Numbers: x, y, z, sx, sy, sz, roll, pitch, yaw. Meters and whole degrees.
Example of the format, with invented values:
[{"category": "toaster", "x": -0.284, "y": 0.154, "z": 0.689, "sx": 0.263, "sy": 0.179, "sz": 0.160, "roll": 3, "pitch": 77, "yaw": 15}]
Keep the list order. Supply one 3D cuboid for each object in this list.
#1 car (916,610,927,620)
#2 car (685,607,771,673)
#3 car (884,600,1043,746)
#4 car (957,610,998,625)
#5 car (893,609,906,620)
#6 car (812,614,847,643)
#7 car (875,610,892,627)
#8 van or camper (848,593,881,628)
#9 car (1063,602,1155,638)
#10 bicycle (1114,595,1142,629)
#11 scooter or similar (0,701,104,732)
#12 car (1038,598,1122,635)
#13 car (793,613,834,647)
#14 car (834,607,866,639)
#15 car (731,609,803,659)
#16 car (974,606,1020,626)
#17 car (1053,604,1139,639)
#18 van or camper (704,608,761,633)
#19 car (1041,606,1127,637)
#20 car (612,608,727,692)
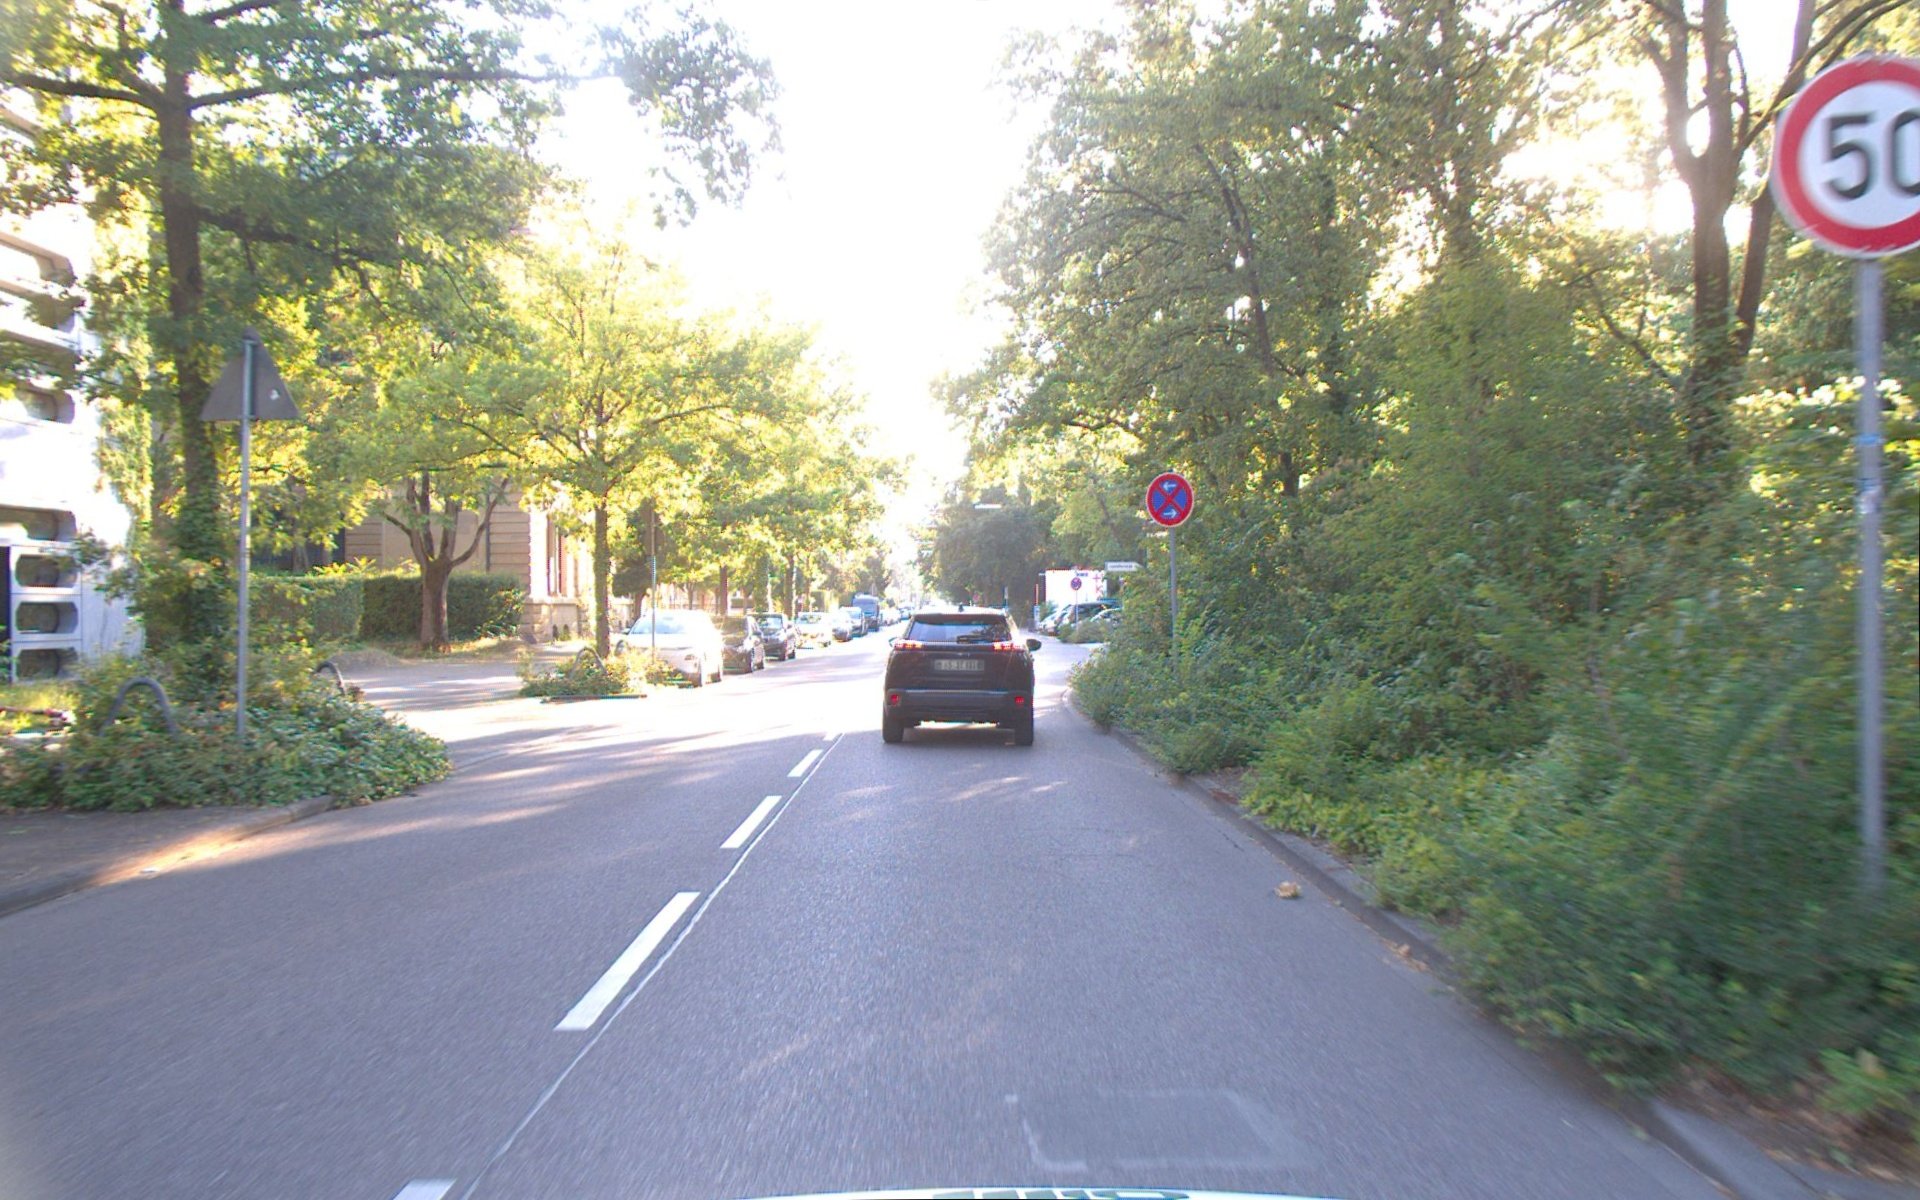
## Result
[{"category": "car", "x": -6.055, "y": 2.327, "z": 257.464, "sx": 1.706, "sy": 1.484, "sz": 4.622, "roll": -1, "pitch": -1, "yaw": -2}, {"category": "car", "x": -6.036, "y": 1.033, "z": 43.447, "sx": 1.744, "sy": 1.644, "sz": 4.146, "roll": 0, "pitch": -1, "yaw": -1}, {"category": "car", "x": 0.013, "y": 0.802, "z": 20.243, "sx": 1.735, "sy": 1.596, "sz": 4.108, "roll": 1, "pitch": 0, "yaw": -1}, {"category": "car", "x": 1.869, "y": 1.887, "z": 175.685, "sx": 4.158, "sy": 1.474, "sz": 2.020, "roll": -2, "pitch": -1, "yaw": -3}, {"category": "car", "x": -9.039, "y": 2.202, "z": 248.321, "sx": 1.861, "sy": 1.601, "sz": 3.999, "roll": 0, "pitch": -1, "yaw": -1}, {"category": "car", "x": -6.898, "y": 1.479, "z": 87.455, "sx": 1.585, "sy": 1.522, "sz": 4.376, "roll": 0, "pitch": 0, "yaw": -1}, {"category": "car", "x": -7.427, "y": 1.760, "z": 160.040, "sx": 1.581, "sy": 1.541, "sz": 3.710, "roll": -2, "pitch": -1, "yaw": -3}, {"category": "van or camper", "x": -7.155, "y": 0.815, "z": 124.865, "sx": 2.184, "sy": 2.589, "sz": 7.077, "roll": 1, "pitch": -1, "yaw": -1}, {"category": "car", "x": 7.302, "y": 0.982, "z": 81.402, "sx": 4.275, "sy": 1.581, "sz": 1.727, "roll": -3, "pitch": -1, "yaw": -2}, {"category": "bicycle", "x": 6.416, "y": 0.448, "z": 63.020, "sx": 0.482, "sy": 1.168, "sz": 2.286, "roll": -4, "pitch": 0, "yaw": 19}, {"category": "scooter or similar", "x": -11.350, "y": 1.436, "z": 20.443, "sx": 1.142, "sy": 0.281, "sz": 1.245, "roll": 0, "pitch": 0, "yaw": -16}, {"category": "car", "x": 7.180, "y": 0.995, "z": 99.278, "sx": 4.755, "sy": 1.949, "sz": 1.915, "roll": -3, "pitch": -1, "yaw": -2}, {"category": "car", "x": -6.614, "y": 1.333, "z": 74.806, "sx": 1.585, "sy": 1.522, "sz": 3.923, "roll": 0, "pitch": 0, "yaw": -1}, {"category": "car", "x": -6.974, "y": 1.441, "z": 105.218, "sx": 1.741, "sy": 1.898, "sz": 4.331, "roll": 2, "pitch": 0, "yaw": -1}, {"category": "car", "x": -6.271, "y": 1.088, "z": 54.262, "sx": 1.765, "sy": 1.537, "sz": 4.862, "roll": 0, "pitch": -1, "yaw": 0}, {"category": "car", "x": 3.197, "y": 1.398, "z": 142.575, "sx": 3.906, "sy": 1.581, "sz": 1.725, "roll": -1, "pitch": 1, "yaw": -1}, {"category": "car", "x": 7.080, "y": 1.124, "z": 86.459, "sx": 4.275, "sy": 1.581, "sz": 1.875, "roll": -3, "pitch": 0, "yaw": -2}, {"category": "van or camper", "x": -20.175, "y": 1.803, "z": 146.605, "sx": 4.670, "sy": 2.020, "sz": 2.001, "roll": -1, "pitch": 4, "yaw": 1}, {"category": "car", "x": 7.234, "y": 1.261, "z": 96.957, "sx": 4.827, "sy": 1.581, "sz": 1.915, "roll": -3, "pitch": 0, "yaw": -2}, {"category": "car", "x": -6.076, "y": 1.014, "z": 34.978, "sx": 1.766, "sy": 1.644, "sz": 4.146, "roll": -1, "pitch": -1, "yaw": -1}]
